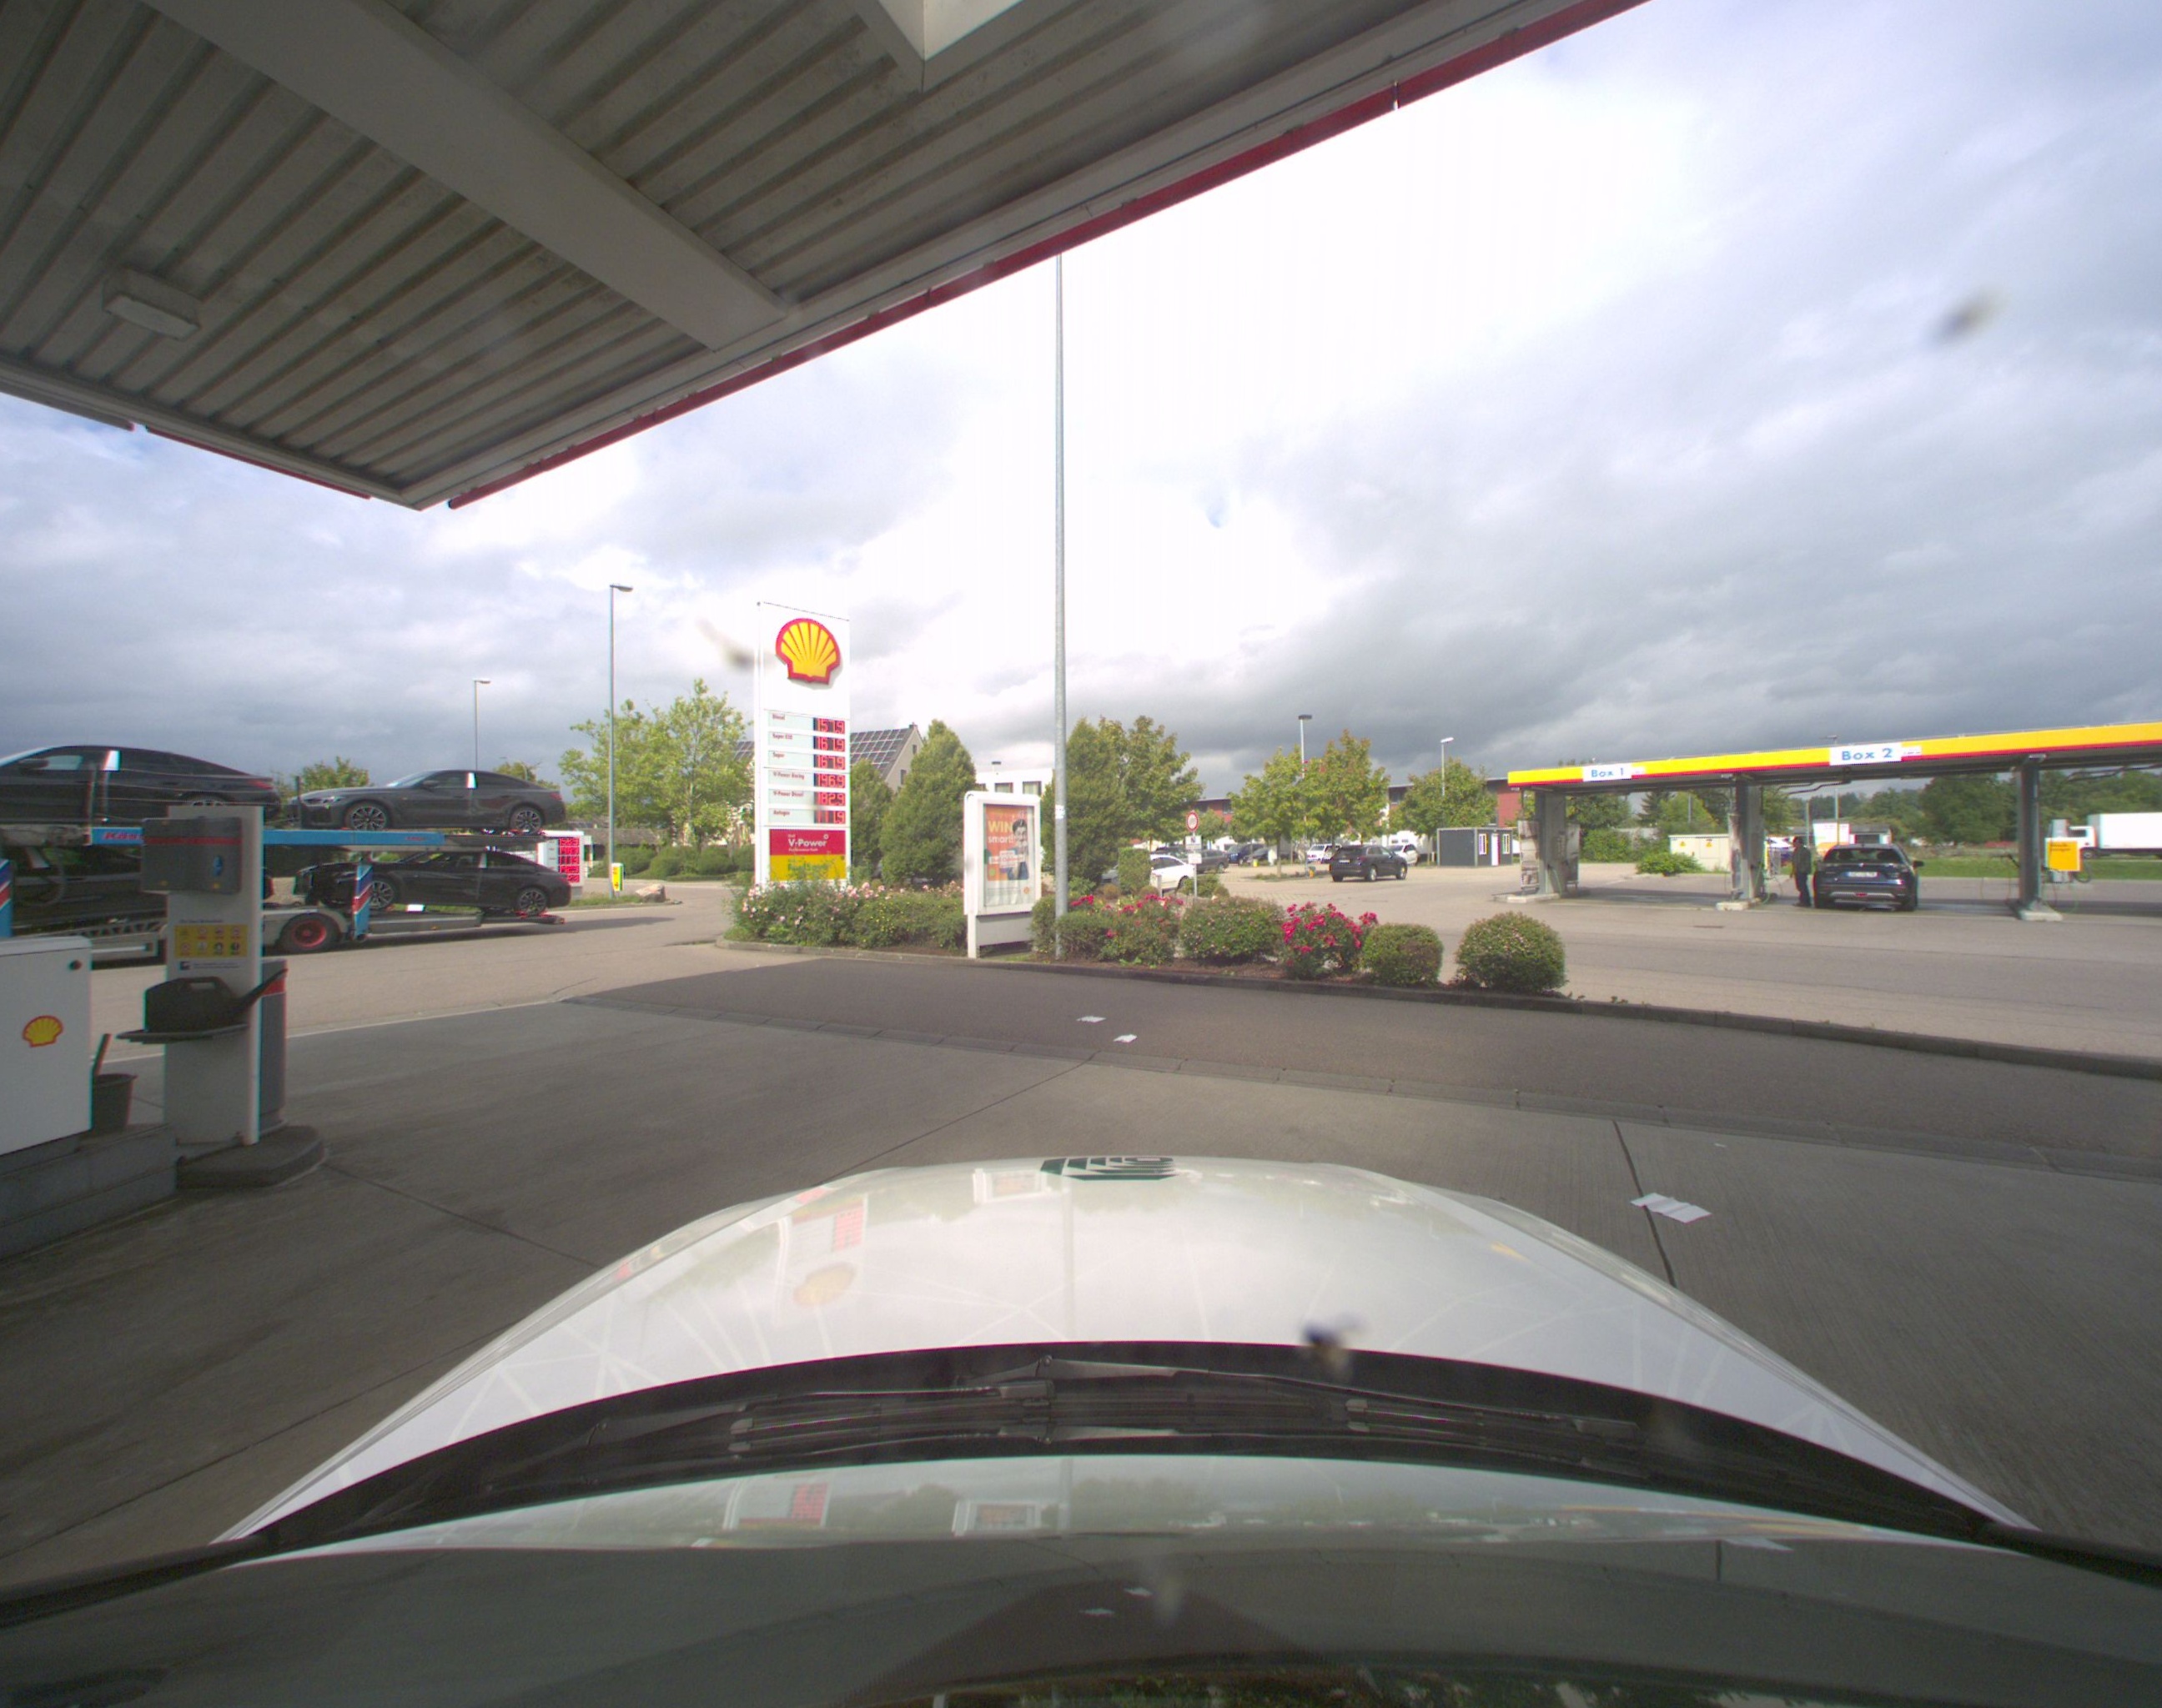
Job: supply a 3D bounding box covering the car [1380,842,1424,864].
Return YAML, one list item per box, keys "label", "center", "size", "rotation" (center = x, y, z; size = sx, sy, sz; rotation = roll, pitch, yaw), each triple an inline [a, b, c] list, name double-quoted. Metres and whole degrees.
- label: "car"
  center: [20.606, -0.057, 52.218]
  size: [3.120, 1.307, 1.352]
  rotation: [0, -1, -42]

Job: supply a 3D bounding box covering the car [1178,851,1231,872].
- label: "car"
  center: [7.538, 0.440, 49.706]
  size: [3.245, 1.228, 1.488]
  rotation: [0, -1, -42]

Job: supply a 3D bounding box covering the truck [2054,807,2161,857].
- label: "truck"
  center: [78.228, -1.575, 60.018]
  size: [7.989, 3.534, 2.714]
  rotation: [-1, -1, 41]

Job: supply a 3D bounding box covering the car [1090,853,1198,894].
- label: "car"
  center: [2.395, 0.677, 30.020]
  size: [4.368, 1.404, 1.354]
  rotation: [0, -1, -42]

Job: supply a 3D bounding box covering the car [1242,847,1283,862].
- label: "car"
  center: [14.489, 0.024, 64.877]
  size: [3.437, 1.179, 1.468]
  rotation: [0, -1, -42]

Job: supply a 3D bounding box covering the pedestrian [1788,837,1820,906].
- label: "pedestrian"
  center: [18.296, 0.432, 20.612]
  size: [0.551, 1.722, 0.531]
  rotation: [-1, -1, 38]

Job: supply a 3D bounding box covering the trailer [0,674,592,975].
- label: "trailer"
  center: [-16.431, -0.416, 13.681]
  size: [2.711, 4.423, 14.450]
  rotation: [-1, -1, 31]

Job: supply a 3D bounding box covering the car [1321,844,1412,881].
- label: "car"
  center: [12.877, 0.366, 36.581]
  size: [4.527, 1.548, 1.864]
  rotation: [0, -1, -41]

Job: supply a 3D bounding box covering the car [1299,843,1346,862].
- label: "car"
  center: [23.868, -0.135, 80.271]
  size: [4.903, 1.833, 2.159]
  rotation: [0, -1, -41]

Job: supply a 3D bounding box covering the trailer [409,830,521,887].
- label: "trailer"
  center: [-43.948, 0.364, 57.851]
  size: [12.548, 3.776, 2.757]
  rotation: [-1, -1, 36]

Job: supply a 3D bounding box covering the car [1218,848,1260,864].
- label: "car"
  center: [12.946, 0.171, 66.661]
  size: [3.407, 1.320, 1.726]
  rotation: [0, -1, -42]

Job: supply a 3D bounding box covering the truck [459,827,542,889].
- label: "truck"
  center: [-38.473, 0.290, 53.917]
  size: [5.842, 3.846, 2.759]
  rotation: [-1, -1, 36]

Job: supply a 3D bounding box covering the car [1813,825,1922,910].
- label: "car"
  center: [19.441, 0.309, 20.077]
  size: [3.828, 1.897, 1.703]
  rotation: [0, -1, -43]
